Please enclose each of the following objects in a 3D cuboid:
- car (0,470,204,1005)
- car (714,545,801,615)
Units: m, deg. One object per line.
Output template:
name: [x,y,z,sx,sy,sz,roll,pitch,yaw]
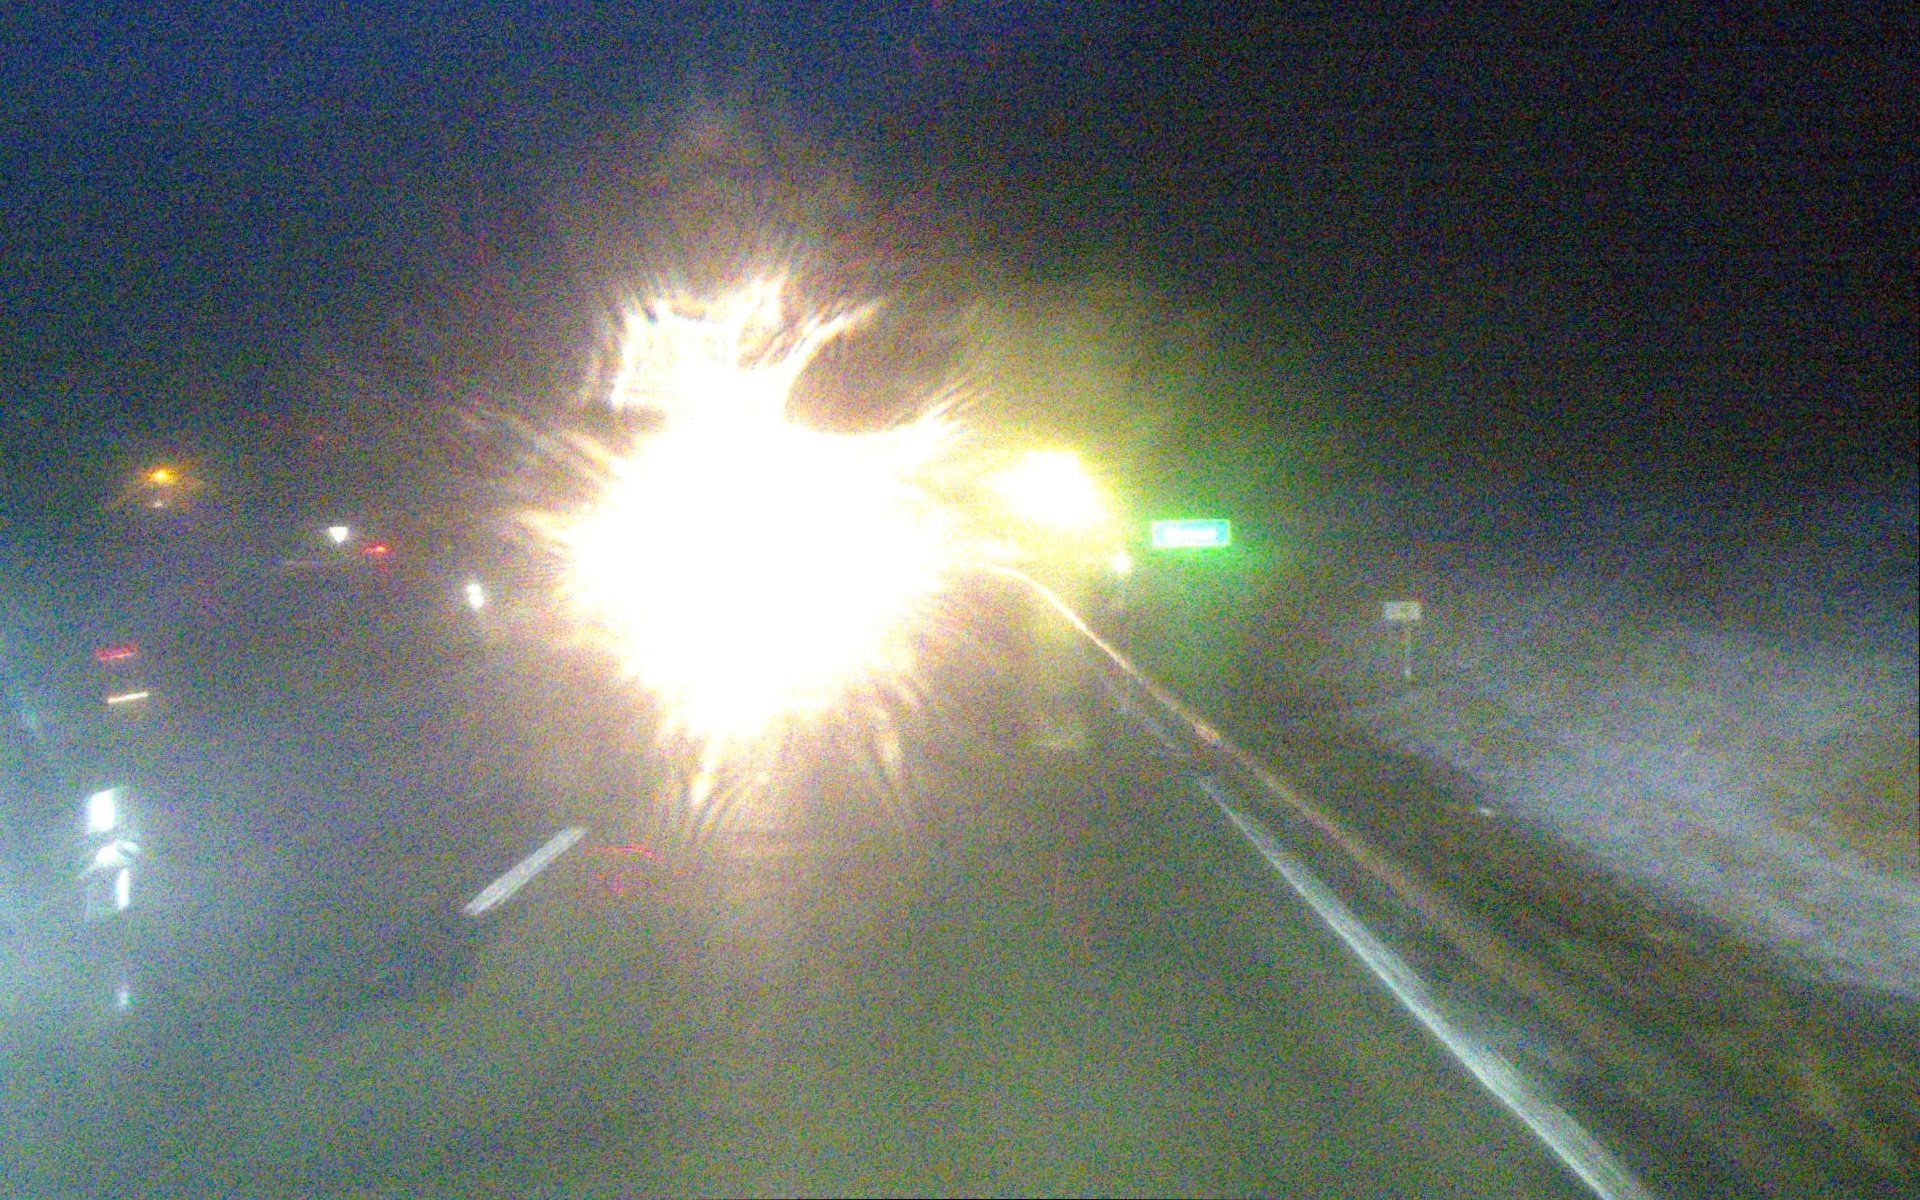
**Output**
car: [-3.864,0.404,11.288,1.781,1.661,4.472,1,1,0]
car: [-7.306,-0.715,124.729,2.752,2.261,6.262,-5,0,-1]
